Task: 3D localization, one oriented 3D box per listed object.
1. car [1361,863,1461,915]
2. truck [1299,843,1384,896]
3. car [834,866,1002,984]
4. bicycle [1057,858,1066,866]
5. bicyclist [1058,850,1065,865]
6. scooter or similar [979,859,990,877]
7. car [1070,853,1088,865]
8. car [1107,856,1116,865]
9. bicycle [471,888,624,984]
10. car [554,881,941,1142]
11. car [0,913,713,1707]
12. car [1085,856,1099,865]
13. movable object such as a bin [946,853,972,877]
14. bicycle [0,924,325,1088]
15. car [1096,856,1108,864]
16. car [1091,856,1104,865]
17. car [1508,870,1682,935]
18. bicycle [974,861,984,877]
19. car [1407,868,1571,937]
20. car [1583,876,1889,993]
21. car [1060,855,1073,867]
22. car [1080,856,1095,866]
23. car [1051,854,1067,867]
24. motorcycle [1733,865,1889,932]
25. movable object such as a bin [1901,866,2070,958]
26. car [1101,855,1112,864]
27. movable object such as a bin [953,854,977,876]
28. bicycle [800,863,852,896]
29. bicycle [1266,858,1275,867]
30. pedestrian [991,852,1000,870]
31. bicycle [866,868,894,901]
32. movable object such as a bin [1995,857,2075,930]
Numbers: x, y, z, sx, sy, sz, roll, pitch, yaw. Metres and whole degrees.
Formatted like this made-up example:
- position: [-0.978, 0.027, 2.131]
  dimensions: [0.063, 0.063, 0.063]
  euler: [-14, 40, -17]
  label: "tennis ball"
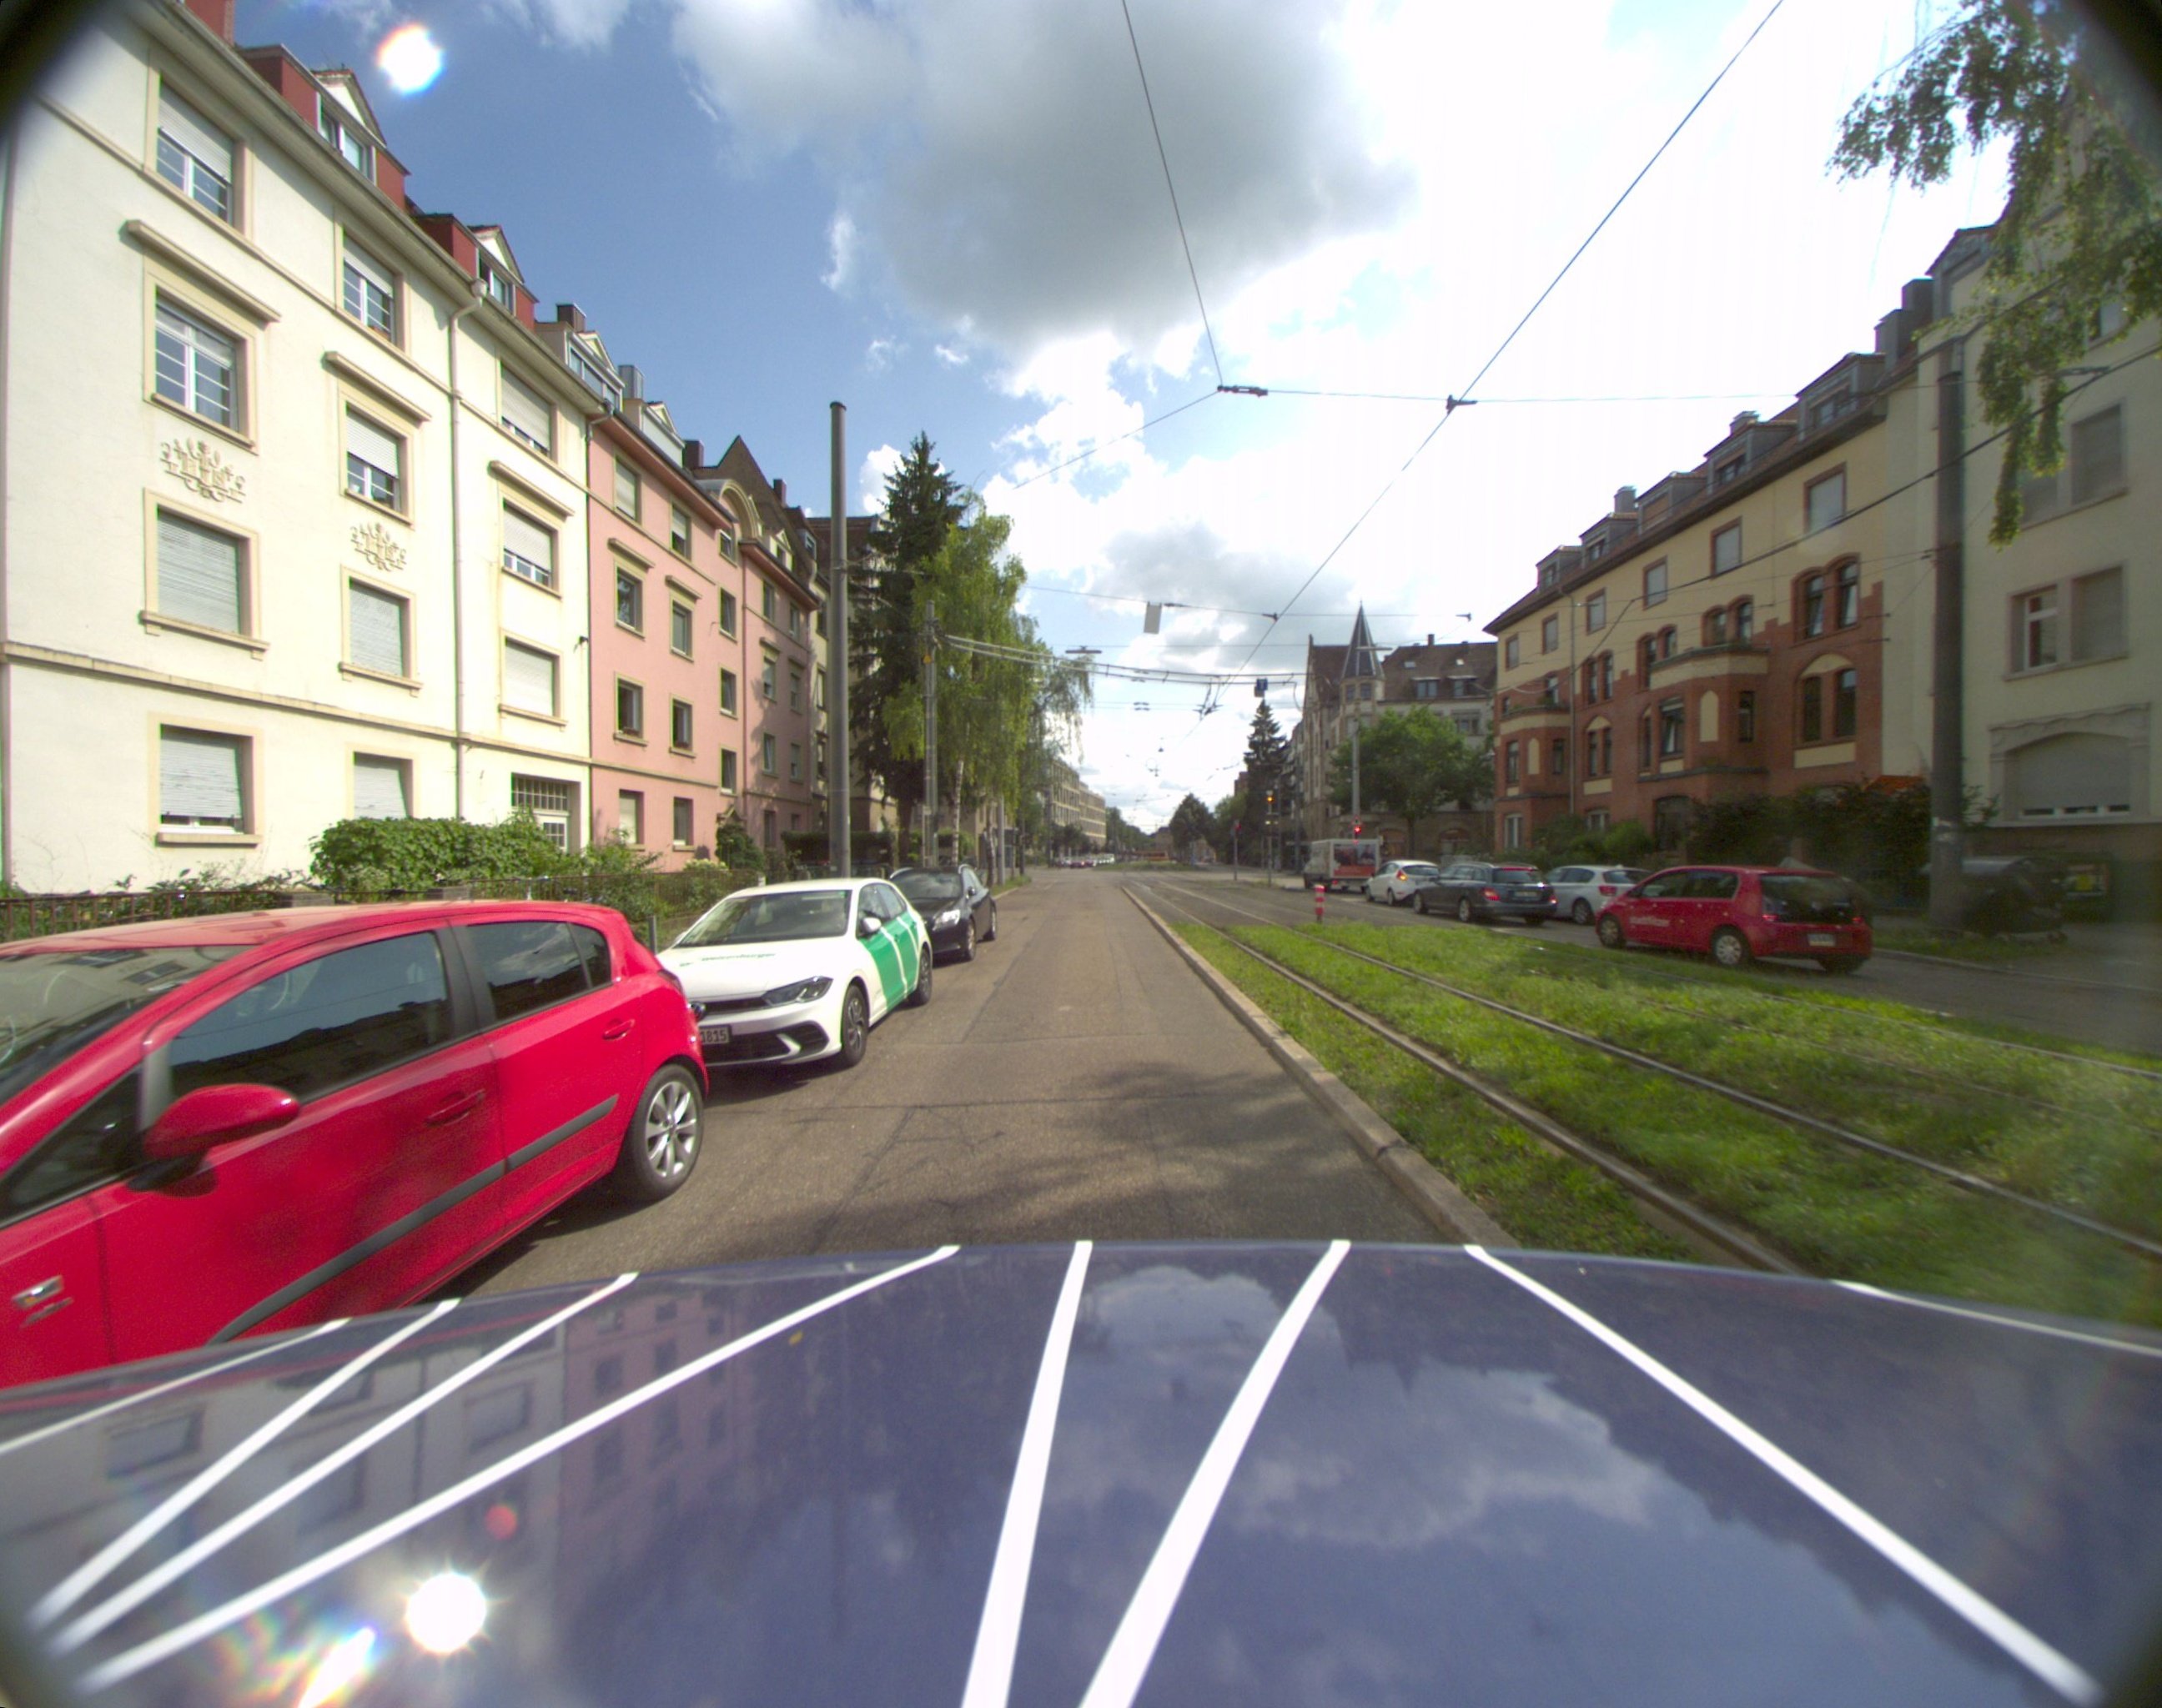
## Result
- position: [10.598, 1.071, 24.742]
  dimensions: [1.758, 1.406, 4.135]
  euler: [2, 1, 6]
  label: "car"
- position: [11.698, 0.635, 34.718]
  dimensions: [2.189, 2.201, 6.615]
  euler: [1, 0, 6]
  label: "truck"
- position: [-2.547, 1.047, 13.060]
  dimensions: [1.796, 1.512, 4.526]
  euler: [-3, 0, 1]
  label: "car"
- position: [-2.171, 0.898, 85.742]
  dimensions: [0.771, 0.885, 1.893]
  euler: [0, 0, 7]
  label: "bicycle"
- position: [-2.159, 0.437, 85.833]
  dimensions: [0.665, 1.679, 0.857]
  euler: [0, 1, 7]
  label: "bicyclist"
- position: [-6.488, 0.942, 51.077]
  dimensions: [0.521, 1.172, 1.188]
  euler: [2, 0, 2]
  label: "scooter or similar"
- position: [-0.225, 0.626, 92.901]
  dimensions: [1.740, 1.313, 4.001]
  euler: [-2, 0, 5]
  label: "car"
- position: [5.717, 1.184, 142.871]
  dimensions: [1.645, 1.610, 3.714]
  euler: [0, 0, 5]
  label: "car"
- position: [-7.219, 1.060, 10.431]
  dimensions: [0.472, 1.071, 2.183]
  euler: [0, 0, 3]
  label: "bicycle"
- position: [-2.533, 1.096, 6.897]
  dimensions: [1.623, 1.444, 3.918]
  euler: [-4, 0, 1]
  label: "car"
- position: [-2.797, 1.090, 2.034]
  dimensions: [1.593, 1.444, 3.844]
  euler: [-4, 0, 1]
  label: "car"
- position: [1.556, 0.911, 106.813]
  dimensions: [1.619, 1.265, 4.001]
  euler: [-1, 0, 5]
  label: "car"
- position: [-7.873, 0.705, 49.193]
  dimensions: [1.305, 1.483, 2.000]
  euler: [0, 0, 2]
  label: "movable object such as a bin"
- position: [-7.356, 1.129, 6.176]
  dimensions: [0.378, 0.938, 2.009]
  euler: [0, 0, 1]
  label: "bicycle"
- position: [3.421, 0.944, 121.995]
  dimensions: [1.619, 1.265, 4.001]
  euler: [-1, 0, 5]
  label: "car"
- position: [2.516, 0.969, 115.290]
  dimensions: [1.619, 1.265, 4.001]
  euler: [-1, 0, 5]
  label: "car"
- position: [12.536, 1.124, 18.890]
  dimensions: [1.759, 1.348, 3.995]
  euler: [0, 0, 3]
  label: "car"
- position: [-6.721, 1.007, 50.086]
  dimensions: [0.350, 1.016, 1.481]
  euler: [3, 0, 0]
  label: "bicycle"
- position: [9.845, 1.095, 18.785]
  dimensions: [1.759, 1.348, 4.512]
  euler: [1, 1, 3]
  label: "car"
- position: [9.674, 1.094, 11.666]
  dimensions: [1.582, 1.378, 3.693]
  euler: [0, 0, 2]
  label: "car"
- position: [-2.099, 0.972, 109.889]
  dimensions: [1.835, 1.674, 4.000]
  euler: [0, 0, 1]
  label: "car"
- position: [0.825, 0.943, 99.238]
  dimensions: [1.619, 1.265, 4.001]
  euler: [-1, 0, 5]
  label: "car"
- position: [-2.925, 0.869, 102.447]
  dimensions: [1.999, 1.730, 4.000]
  euler: [0, 0, 0]
  label: "car"
- position: [14.937, 0.874, 15.668]
  dimensions: [0.903, 1.235, 2.293]
  euler: [0, 0, -5]
  label: "motorcycle"
- position: [15.187, 0.927, 12.825]
  dimensions: [0.953, 1.359, 1.522]
  euler: [-5, 0, 1]
  label: "movable object such as a bin"
- position: [4.320, 0.918, 127.925]
  dimensions: [1.738, 1.570, 4.001]
  euler: [0, 0, 5]
  label: "car"
- position: [-7.824, 0.735, 51.342]
  dimensions: [1.305, 1.483, 2.000]
  euler: [0, 0, 2]
  label: "movable object such as a bin"
- position: [-9.478, 0.940, 28.216]
  dimensions: [1.777, 1.213, 0.421]
  euler: [0, 1, 0]
  label: "bicycle"
- position: [20.722, 0.973, 83.168]
  dimensions: [0.625, 0.966, 2.336]
  euler: [0, 0, 5]
  label: "bicycle"
- position: [-8.810, 0.667, 78.098]
  dimensions: [0.737, 1.832, 0.806]
  euler: [-1, 1, -14]
  label: "pedestrian"
- position: [-6.935, 1.031, 26.252]
  dimensions: [0.420, 1.046, 1.779]
  euler: [0, 0, 2]
  label: "bicycle"
- position: [18.352, 0.741, 14.634]
  dimensions: [0.674, 1.354, 0.699]
  euler: [0, 0, -2]
  label: "movable object such as a bin"
